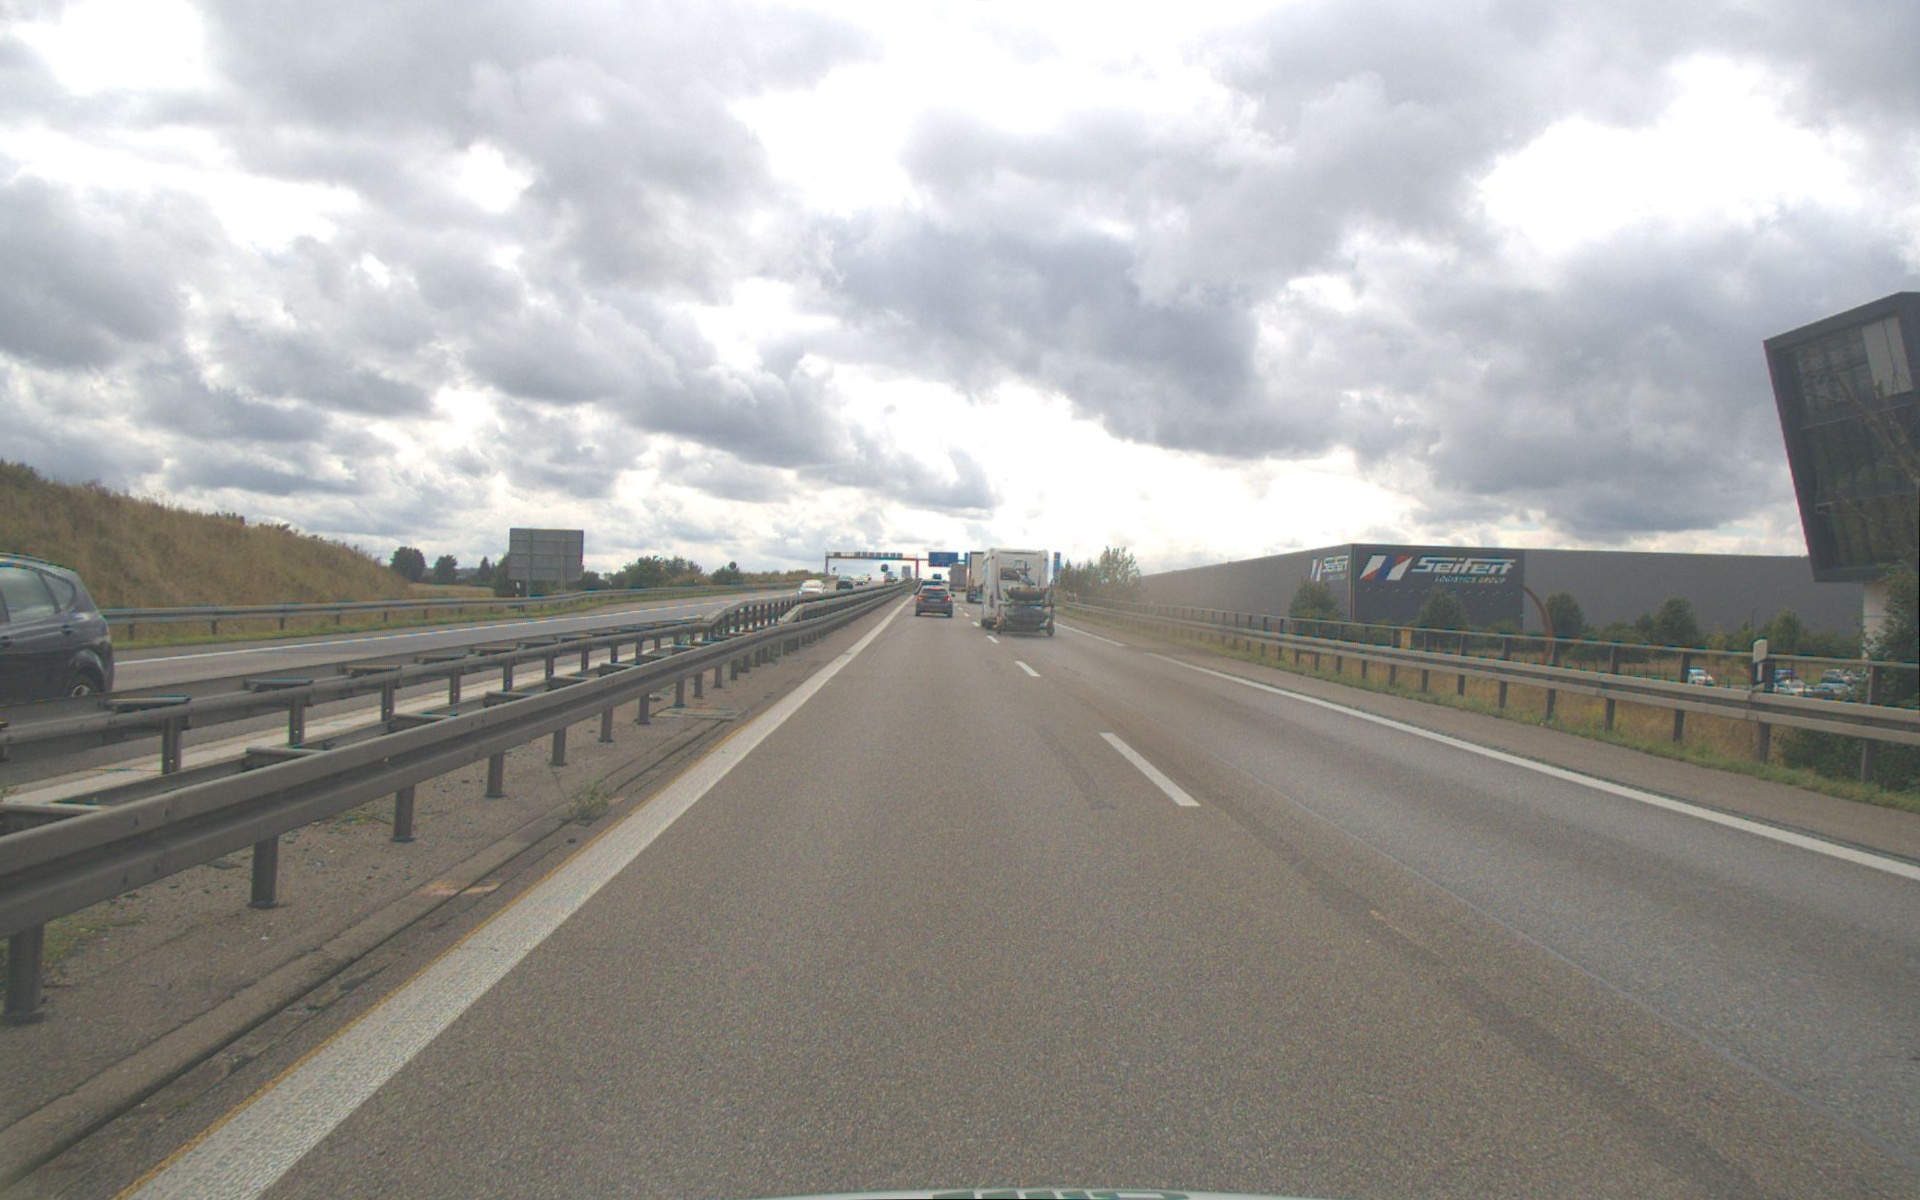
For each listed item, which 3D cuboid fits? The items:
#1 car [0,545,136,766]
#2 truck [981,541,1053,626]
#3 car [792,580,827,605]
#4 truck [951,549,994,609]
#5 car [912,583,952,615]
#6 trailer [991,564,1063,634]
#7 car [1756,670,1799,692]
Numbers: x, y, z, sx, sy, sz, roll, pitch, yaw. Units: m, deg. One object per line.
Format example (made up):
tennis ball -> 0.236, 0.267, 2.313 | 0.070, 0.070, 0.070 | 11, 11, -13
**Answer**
car -> -7.873, 0.385, 11.973 | 1.804, 1.604, 3.999 | 1, 0, -1
truck -> 2.070, -0.586, 62.160 | 2.431, 3.002, 5.814 | 1, 0, 0
car -> -9.617, -0.447, 106.167 | 1.868, 1.539, 4.728 | 1, 0, -1
truck -> 0.981, -1.647, 133.627 | 3.271, 4.613, 8.015 | 1, 0, -1
car -> -1.325, -0.030, 78.910 | 1.710, 1.478, 4.001 | 1, 0, 2
trailer -> 2.196, -0.021, 54.922 | 2.290, 2.174, 4.001 | 1, 0, 1
car -> 71.139, 7.038, 143.958 | 1.641, 1.520, 3.999 | 3, 0, -1
